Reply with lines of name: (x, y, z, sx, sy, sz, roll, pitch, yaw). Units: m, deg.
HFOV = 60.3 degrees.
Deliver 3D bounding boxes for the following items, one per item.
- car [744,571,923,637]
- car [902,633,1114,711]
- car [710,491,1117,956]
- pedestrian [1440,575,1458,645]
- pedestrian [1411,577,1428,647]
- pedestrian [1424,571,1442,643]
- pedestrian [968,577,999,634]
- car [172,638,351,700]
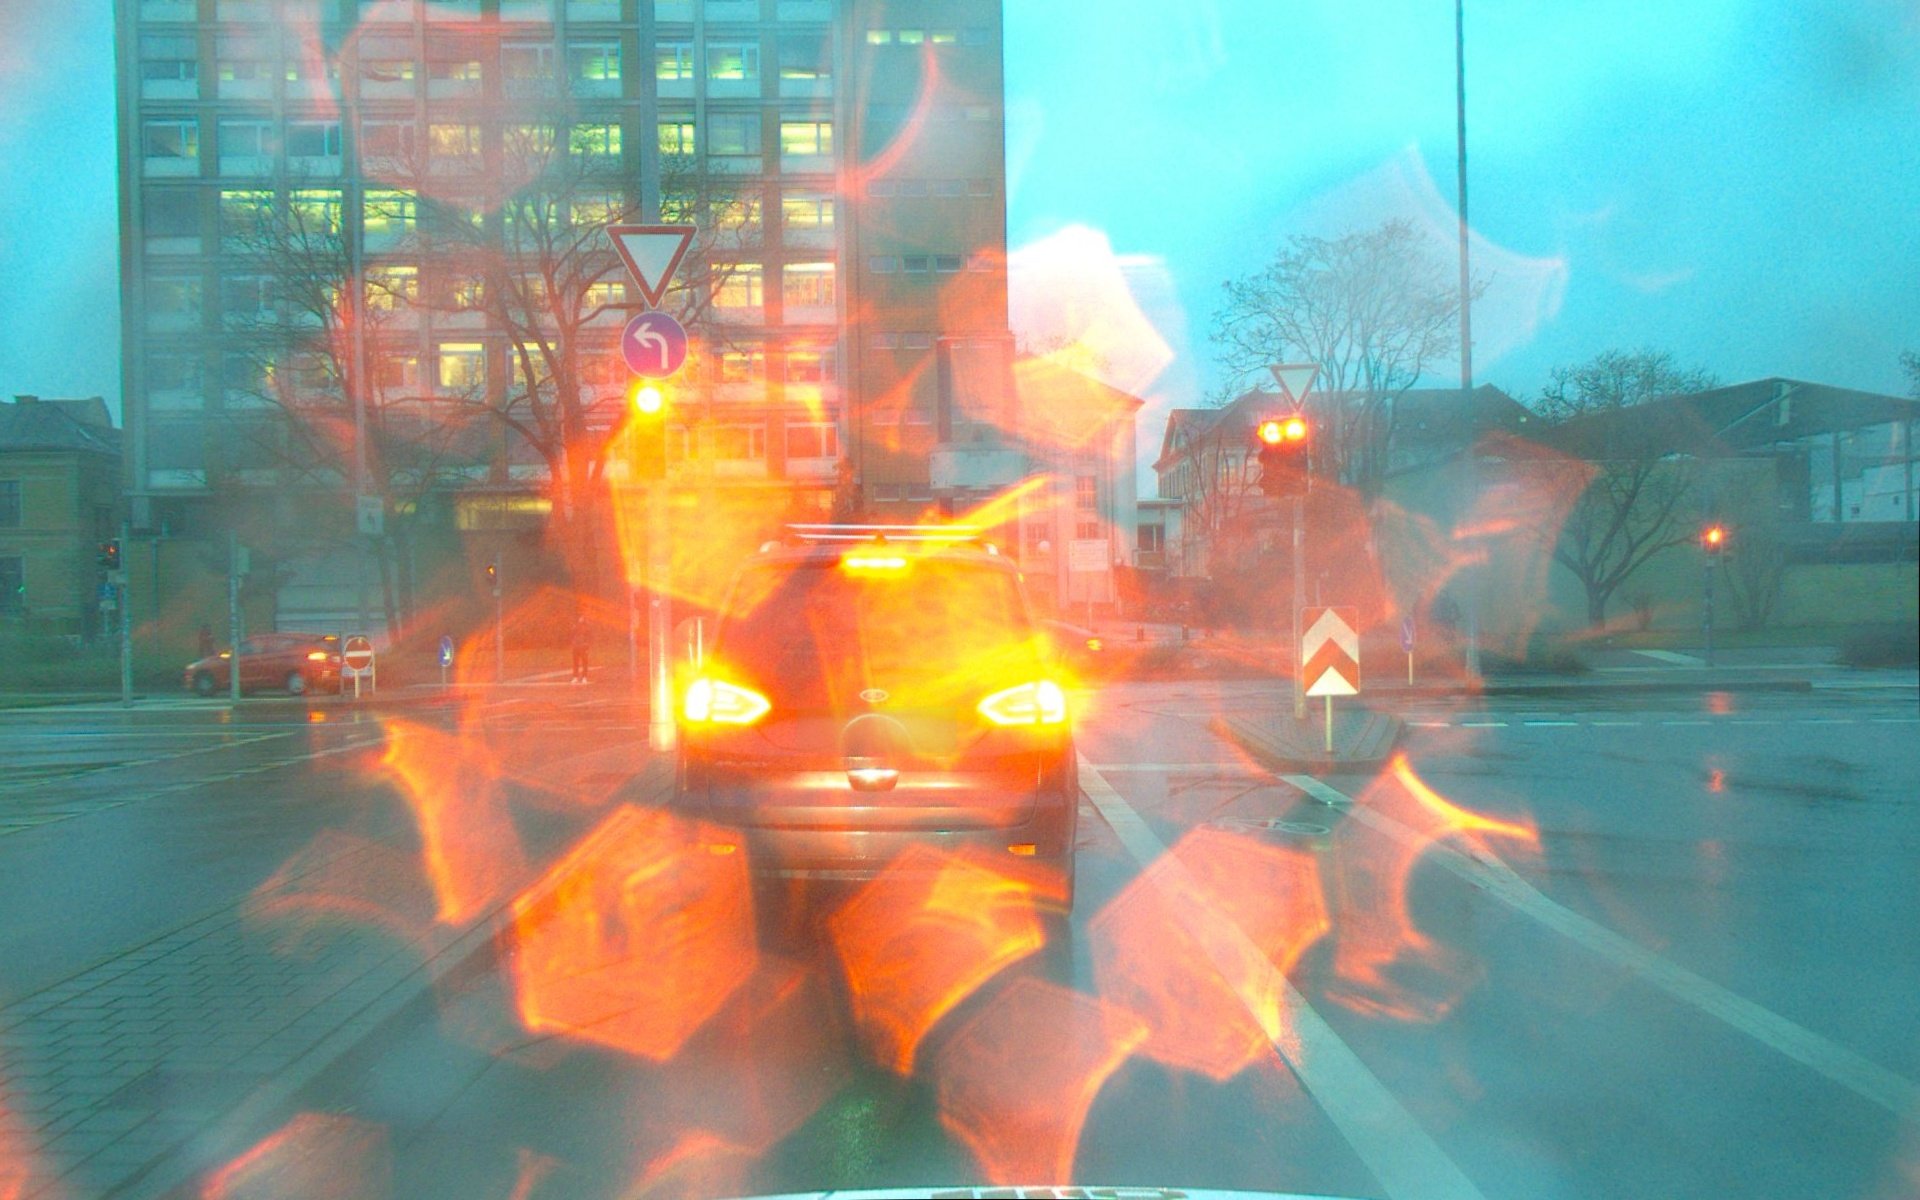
car: (-4.011, 0.141, 52.917, 5.429, 2.060, 2.001, 0, -2, 5)
car: (1.082, 1.549, 36.068, 4.338, 1.608, 1.969, 0, -2, 12)
car: (-0.213, 0.481, 8.610, 1.613, 1.850, 3.999, 0, 0, -1)
pedestrian: (13.045, 0.271, 44.112, 0.428, 1.871, 0.460, 0, -2, 18)
pedestrian: (12.257, 0.328, 44.149, 0.428, 1.871, 0.460, 0, -2, 17)
pedestrian: (12.316, 0.181, 43.053, 0.448, 1.871, 0.439, 0, -2, 16)
pedestrian: (0.706, 0.171, 49.515, 0.677, 1.690, 0.670, 2, -2, -30)
car: (-16.756, 1.642, 39.731, 3.708, 1.423, 1.566, 0, -2, 11)
